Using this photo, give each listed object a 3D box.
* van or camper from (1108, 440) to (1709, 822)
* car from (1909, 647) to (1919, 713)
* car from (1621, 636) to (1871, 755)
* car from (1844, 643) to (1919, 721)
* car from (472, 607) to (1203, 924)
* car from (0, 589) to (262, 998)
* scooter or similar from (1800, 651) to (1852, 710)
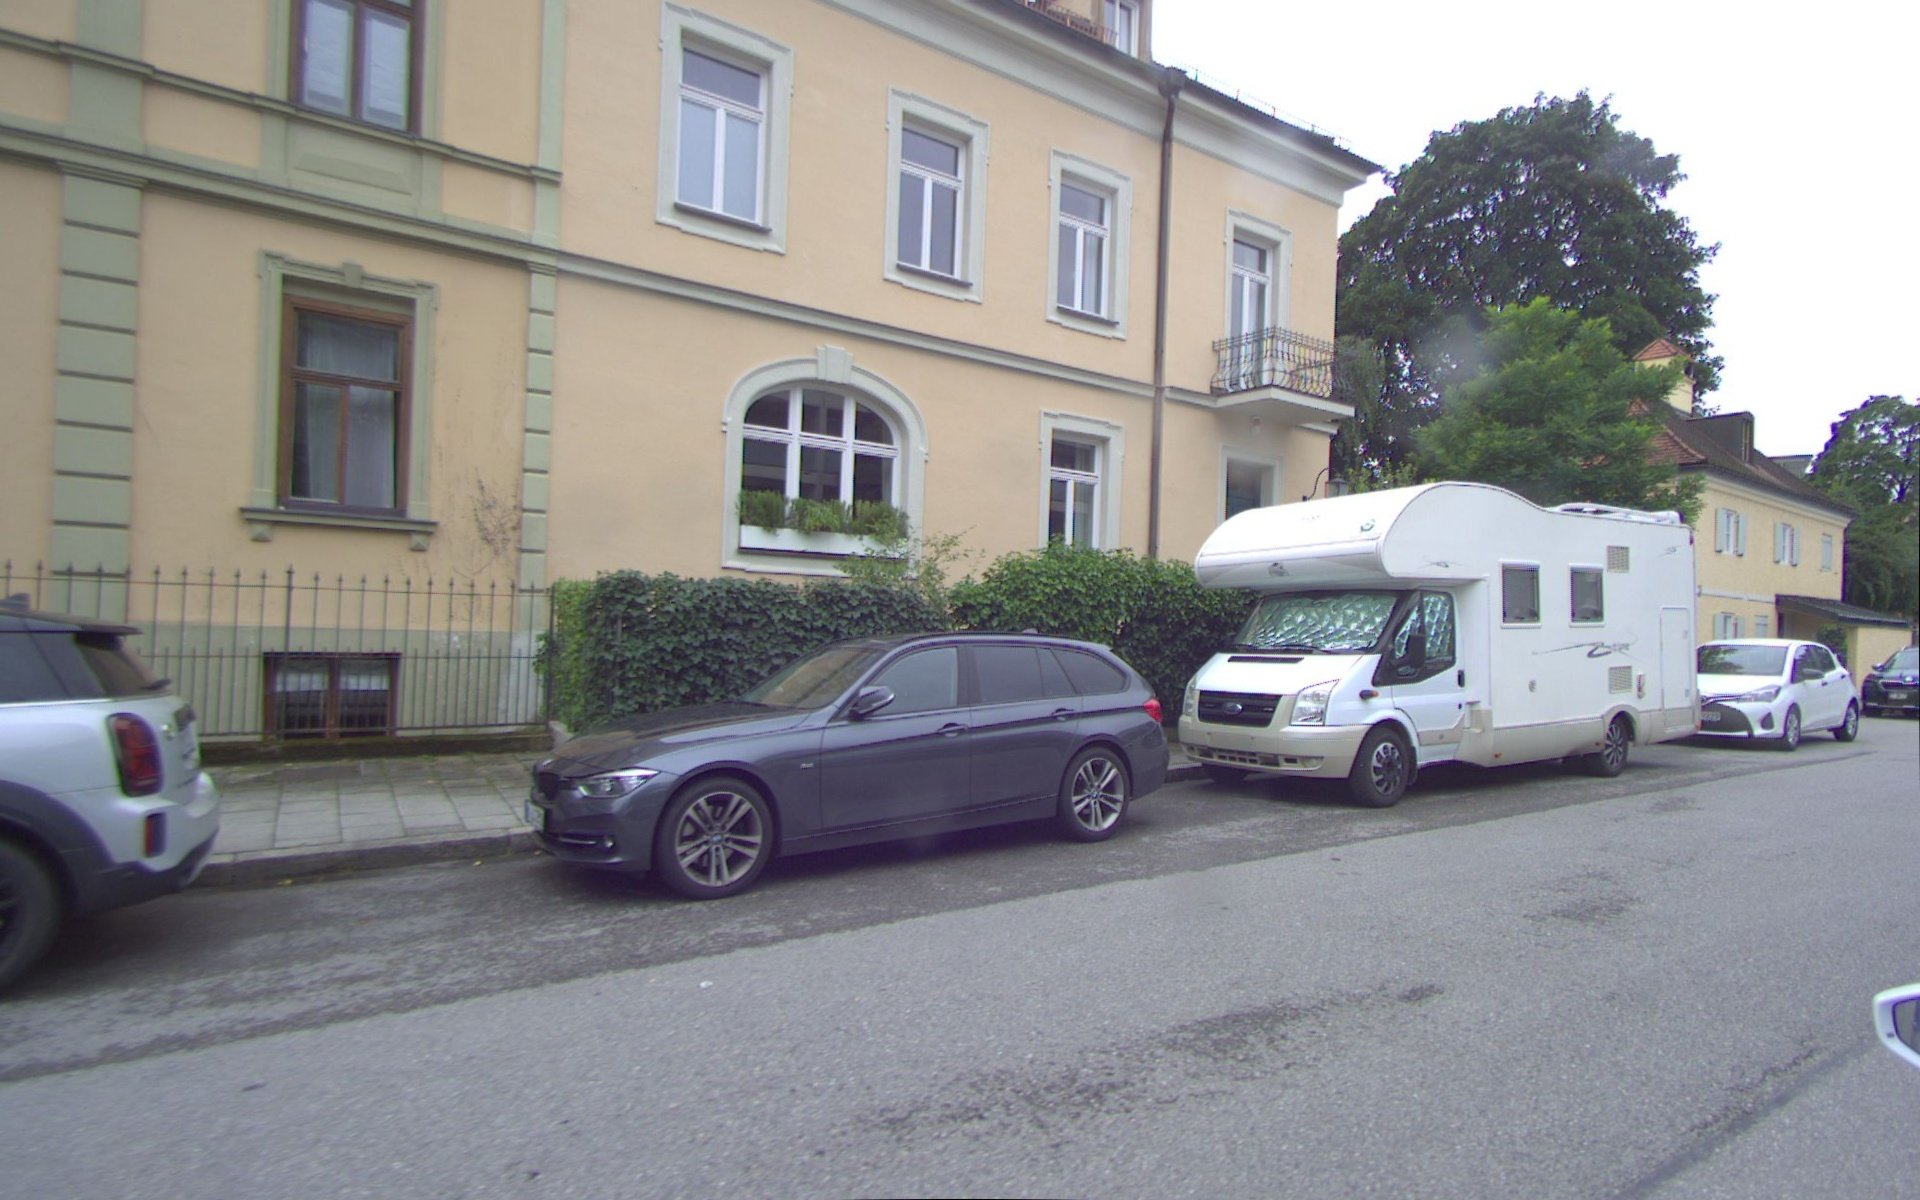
[{"bbox_3d":[5.108,0.383,10.821,7.134,2.979,2.441,2,-2,-33],"label":"van or camper"},{"bbox_3d":[24.845,1.935,24.272,4.475,1.555,1.834,2,-3,-34],"label":"car"},{"bbox_3d":[11.855,1.350,15.086,4.185,1.555,1.767,2,-3,-34],"label":"car"},{"bbox_3d":[20.909,1.750,21.580,4.396,1.555,1.834,3,-3,-34],"label":"car"},{"bbox_3d":[-0.637,0.913,7.059,4.774,1.528,1.923,2,-3,-35],"label":"car"},{"bbox_3d":[-5.451,0.719,3.809,4.483,1.555,1.925,2,-3,-33],"label":"car"},{"bbox_3d":[18.617,1.719,21.593,1.357,1.204,0.449,2,1,-34],"label":"scooter or similar"}]
